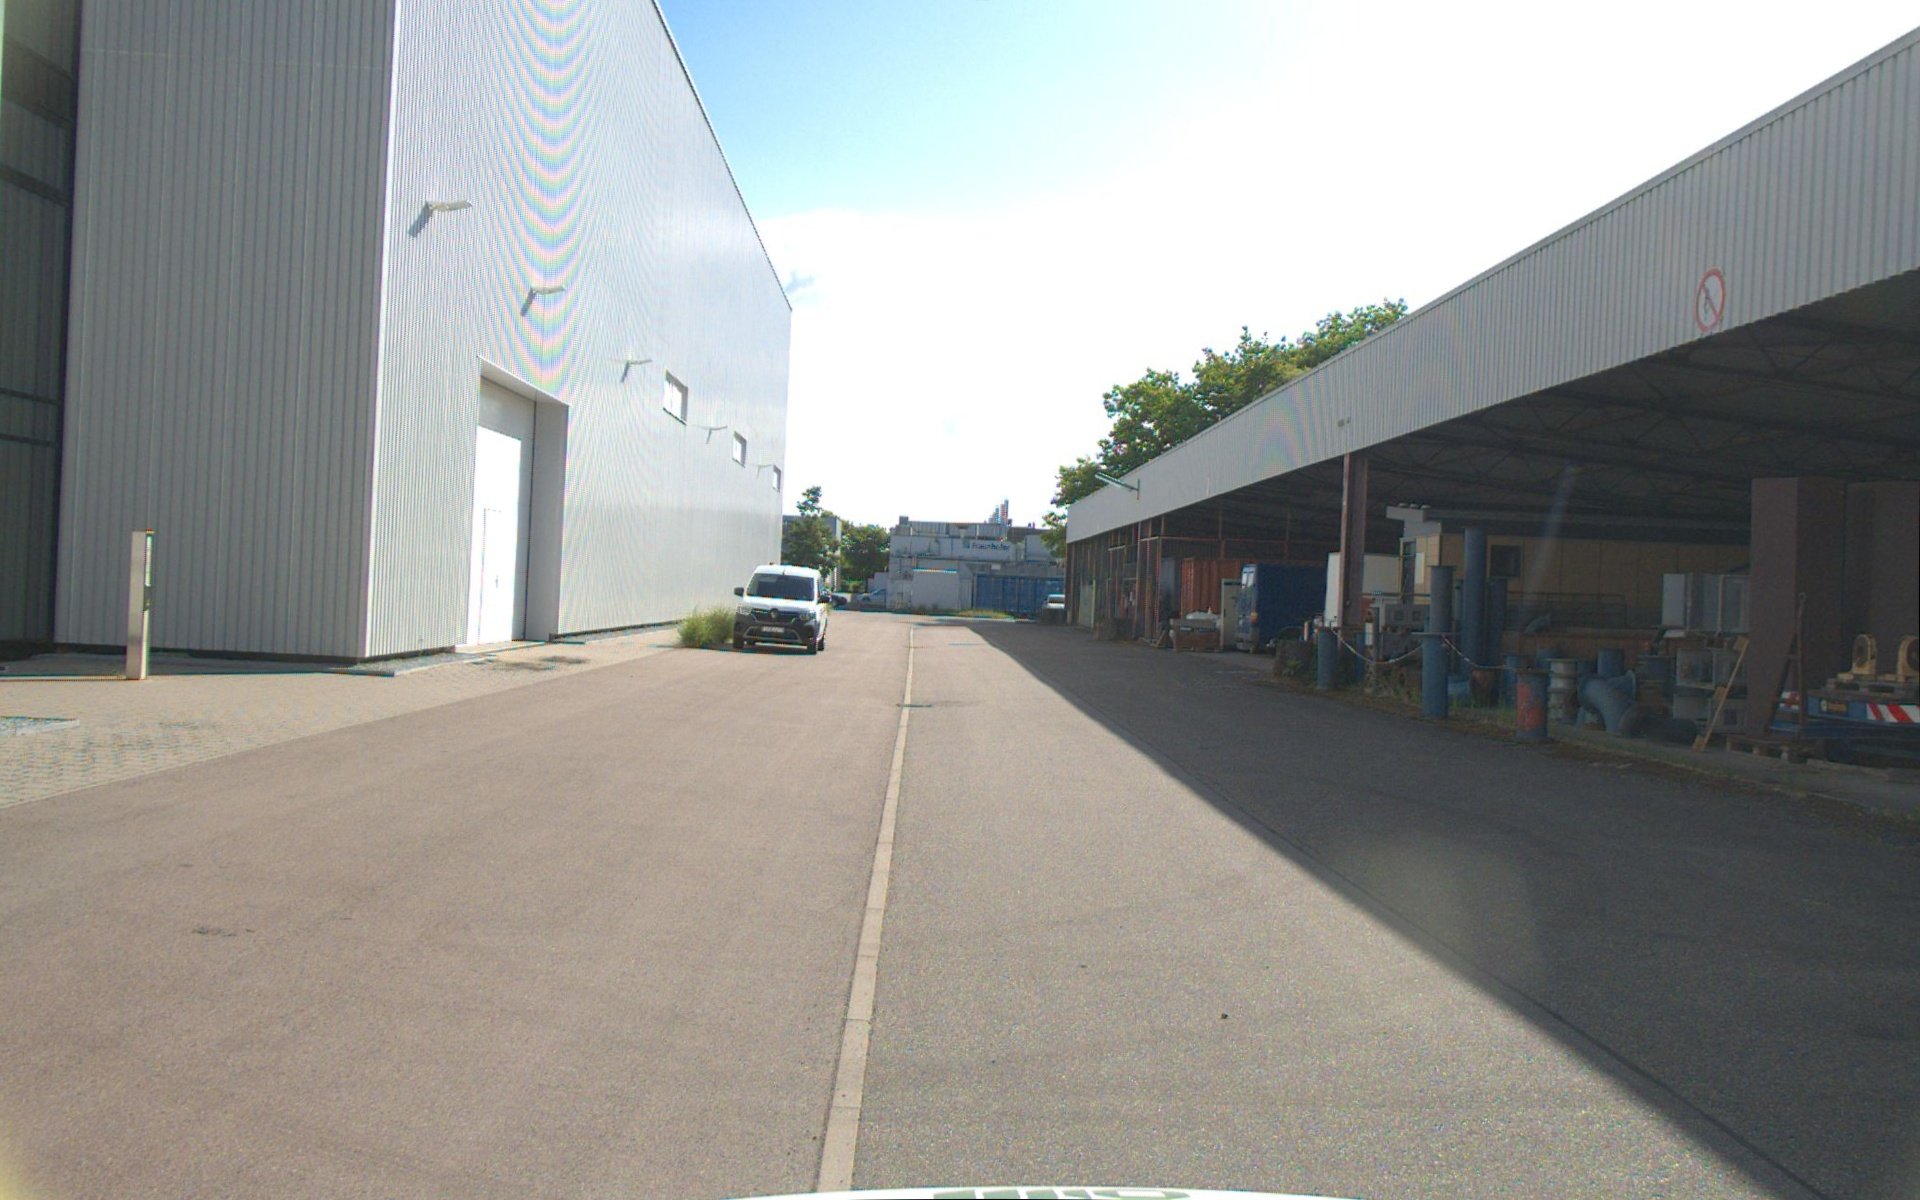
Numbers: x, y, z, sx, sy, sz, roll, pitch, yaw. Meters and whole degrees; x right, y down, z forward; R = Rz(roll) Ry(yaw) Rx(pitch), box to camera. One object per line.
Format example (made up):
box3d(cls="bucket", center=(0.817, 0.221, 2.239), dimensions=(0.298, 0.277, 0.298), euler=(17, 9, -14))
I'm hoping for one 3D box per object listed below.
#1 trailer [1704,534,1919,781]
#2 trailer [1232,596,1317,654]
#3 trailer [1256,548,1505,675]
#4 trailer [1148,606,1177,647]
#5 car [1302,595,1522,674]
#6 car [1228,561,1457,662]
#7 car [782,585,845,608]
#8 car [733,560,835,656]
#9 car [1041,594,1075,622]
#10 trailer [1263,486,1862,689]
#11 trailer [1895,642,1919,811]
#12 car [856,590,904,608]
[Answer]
box3d(cls="trailer", center=(9.275, 0.508, 14.712), dimensions=(4.332, 2.025, 2.163), euler=(1, 0, 0))
box3d(cls="trailer", center=(8.433, 0.648, 44.429), dimensions=(1.996, 1.492, 1.739), euler=(1, 0, 2))
box3d(cls="trailer", center=(8.322, 0.228, 33.015), dimensions=(4.424, 2.383, 2.047), euler=(1, 0, -1))
box3d(cls="trailer", center=(5.807, 0.751, 47.454), dimensions=(0.541, 1.138, 1.546), euler=(1, 0, -3))
box3d(cls="car", center=(9.688, 0.725, 35.615), dimensions=(4.165, 1.497, 1.868), euler=(2, 0, -5))
box3d(cls="car", center=(9.615, 0.288, 41.854), dimensions=(5.225, 2.321, 2.151), euler=(2, 0, -3))
box3d(cls="car", center=(-10.406, -0.251, 117.975), dimensions=(4.358, 1.558, 1.823), euler=(1, 0, -2))
box3d(cls="car", center=(-3.785, 0.171, 36.218), dimensions=(1.748, 1.847, 4.600), euler=(4, 0, -2))
box3d(cls="car", center=(6.258, 0.471, 106.051), dimensions=(1.939, 1.630, 4.377), euler=(1, 1, 0))
box3d(cls="trailer", center=(10.921, -0.218, 30.601), dimensions=(10.060, 3.401, 2.800), euler=(1, 0, -1))
box3d(cls="trailer", center=(9.759, 0.961, 11.388), dimensions=(5.614, 1.206, 1.973), euler=(1, 0, -3))
box3d(cls="car", center=(-7.044, -0.069, 145.984), dimensions=(4.216, 1.483, 1.823), euler=(1, 0, -2))
